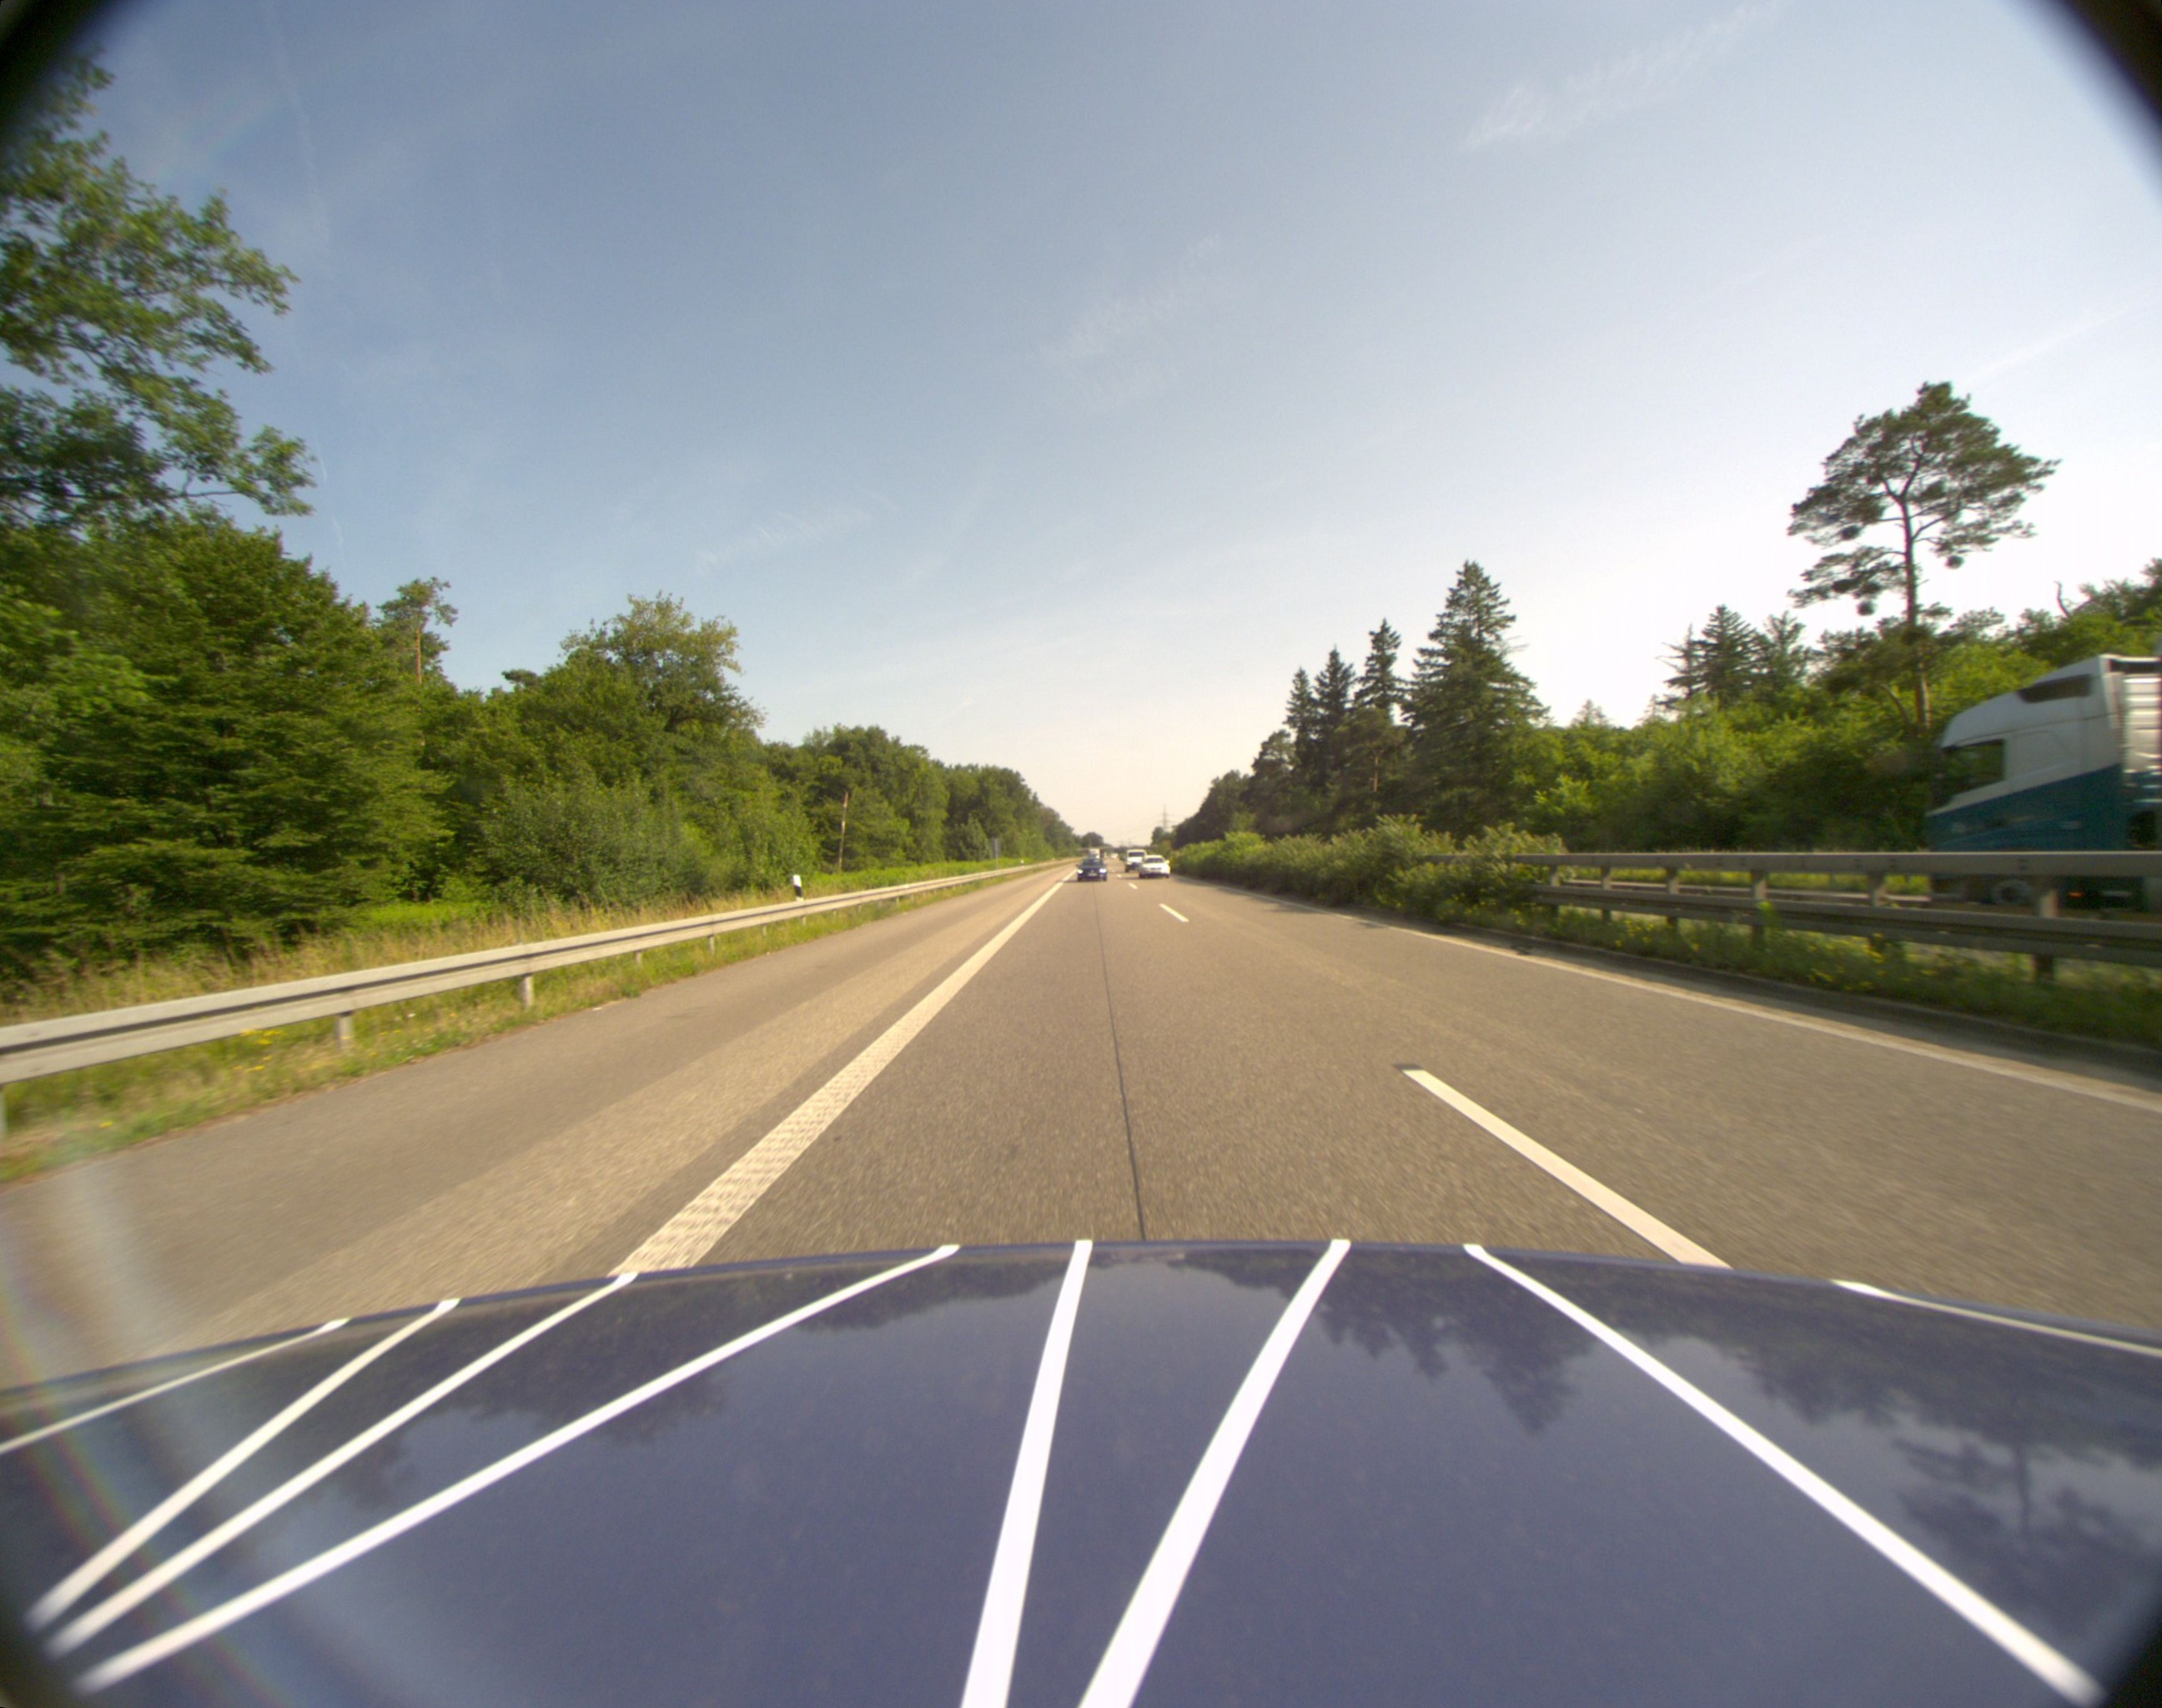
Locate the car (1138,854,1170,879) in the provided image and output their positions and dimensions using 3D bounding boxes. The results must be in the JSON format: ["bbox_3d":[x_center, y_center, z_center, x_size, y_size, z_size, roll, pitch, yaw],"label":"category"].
[{"bbox_3d":[4.670,0.762,49.159,1.754,1.477,5.264,-2,0,2],"label":"car"}]

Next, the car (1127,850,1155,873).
[{"bbox_3d":[5.243,0.632,66.686,1.912,1.934,4.706,-2,0,-1],"label":"car"}]

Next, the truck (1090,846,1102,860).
[{"bbox_3d":[3.553,-0.253,181.454,2.695,3.020,10.371,-2,0,0],"label":"truck"}]

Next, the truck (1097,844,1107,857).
[{"bbox_3d":[6.566,-1.043,235.615,2.695,4.061,12.364,-2,0,0],"label":"truck"}]

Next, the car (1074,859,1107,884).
[{"bbox_3d":[0.582,0.965,44.012,1.789,1.285,3.538,-2,0,1],"label":"car"}]

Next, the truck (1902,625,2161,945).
[{"bbox_3d":[15.469,-0.910,9.917,2.716,4.176,6.293,-1,0,0],"label":"truck"}]
